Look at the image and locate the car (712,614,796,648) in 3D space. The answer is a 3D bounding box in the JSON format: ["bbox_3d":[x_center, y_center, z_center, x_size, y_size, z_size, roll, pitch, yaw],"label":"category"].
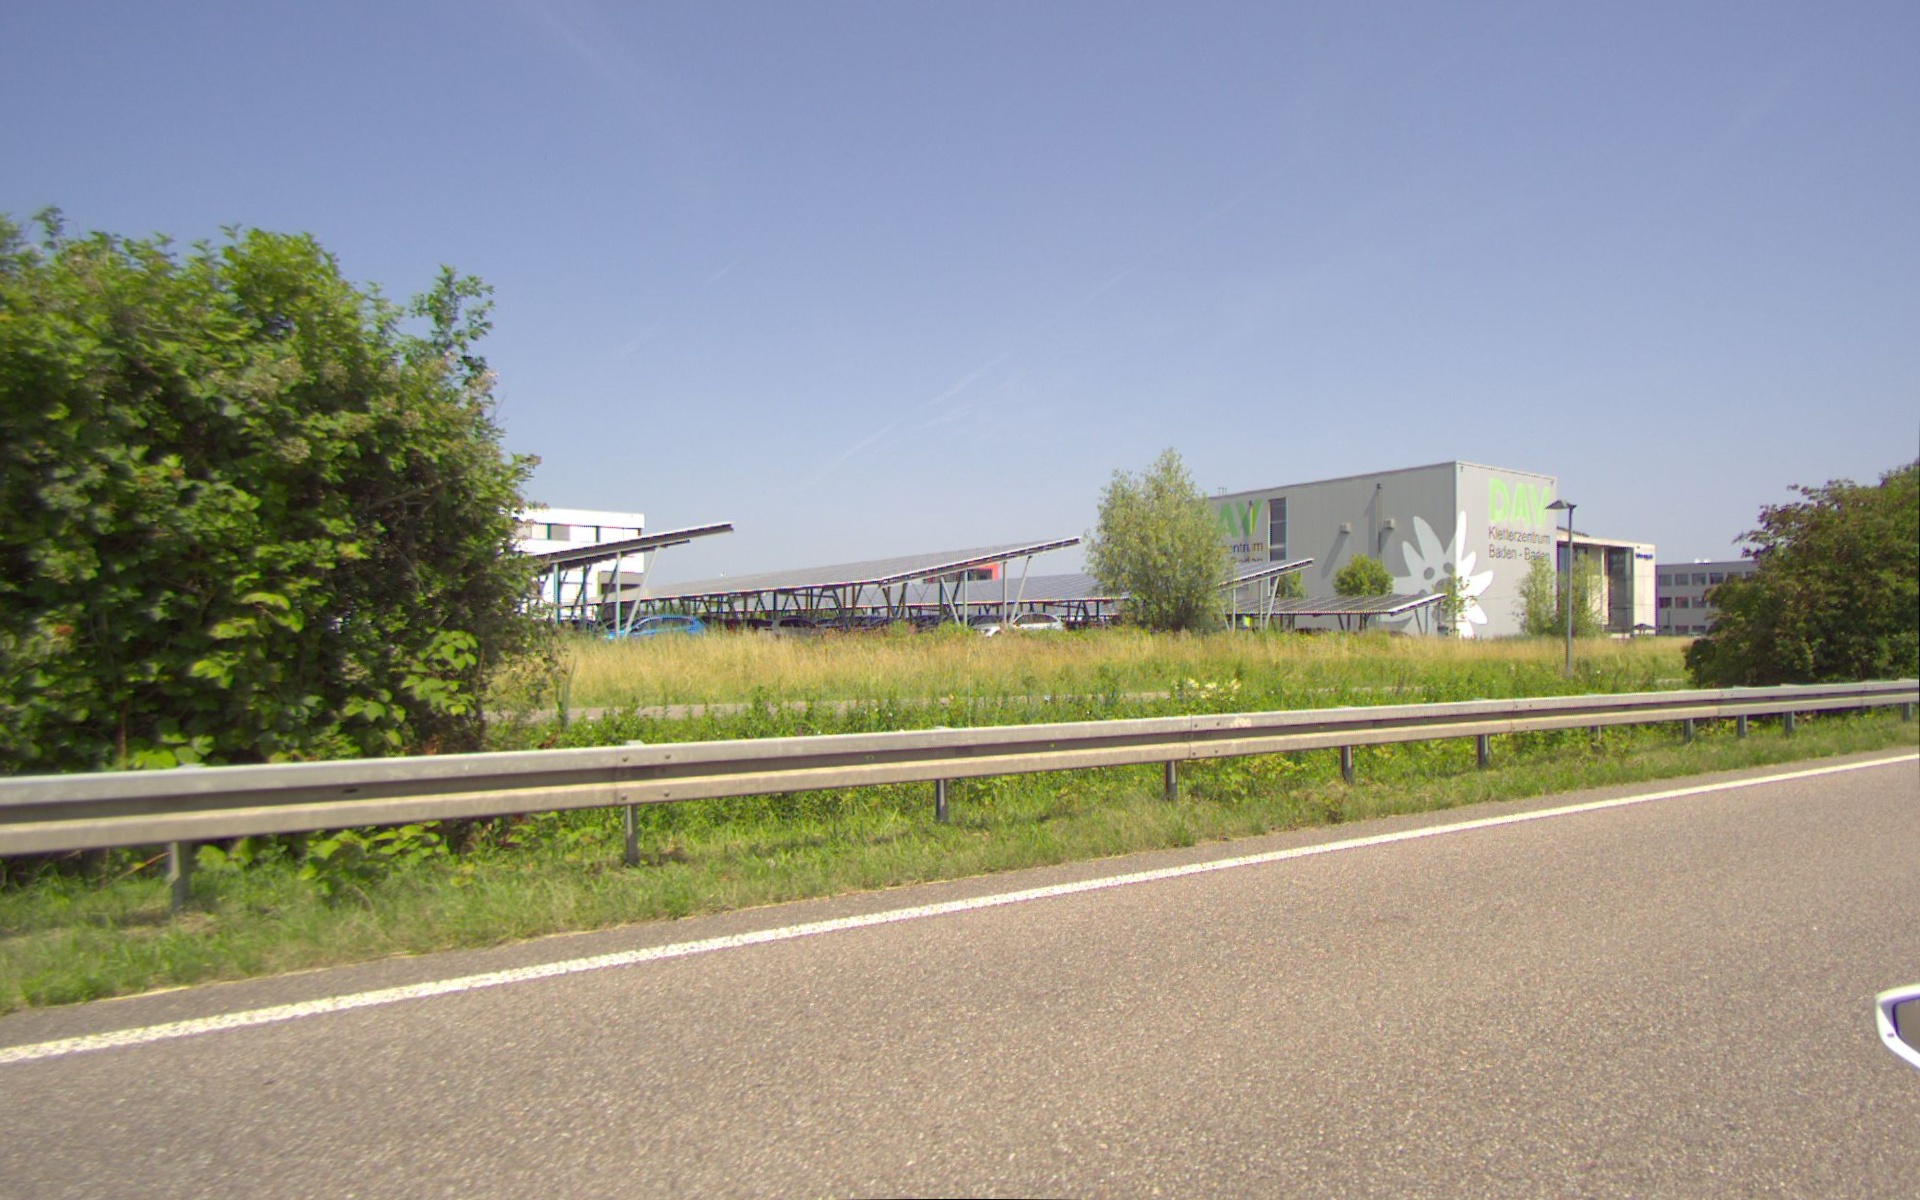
[{"bbox_3d":[-11.597,1.740,56.545,4.212,1.828,1.984,1,0,-30],"label":"car"}]

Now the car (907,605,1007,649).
[{"bbox_3d":[-0.142,1.303,48.484,4.463,2.040,1.984,1,-1,-30],"label":"car"}]

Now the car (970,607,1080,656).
[{"bbox_3d":[2.867,1.363,43.938,4.463,2.040,1.984,1,-1,-30],"label":"car"}]

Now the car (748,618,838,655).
[{"bbox_3d":[-8.676,1.884,52.310,4.212,1.828,1.984,1,0,-30],"label":"car"}]

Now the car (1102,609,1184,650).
[{"bbox_3d":[9.455,1.532,51.725,3.961,2.040,1.980,1,-1,-36],"label":"car"}]

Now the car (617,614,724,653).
[{"bbox_3d":[-10.205,1.185,35.436,3.328,1.308,1.609,1,-1,-33],"label":"car"}]
